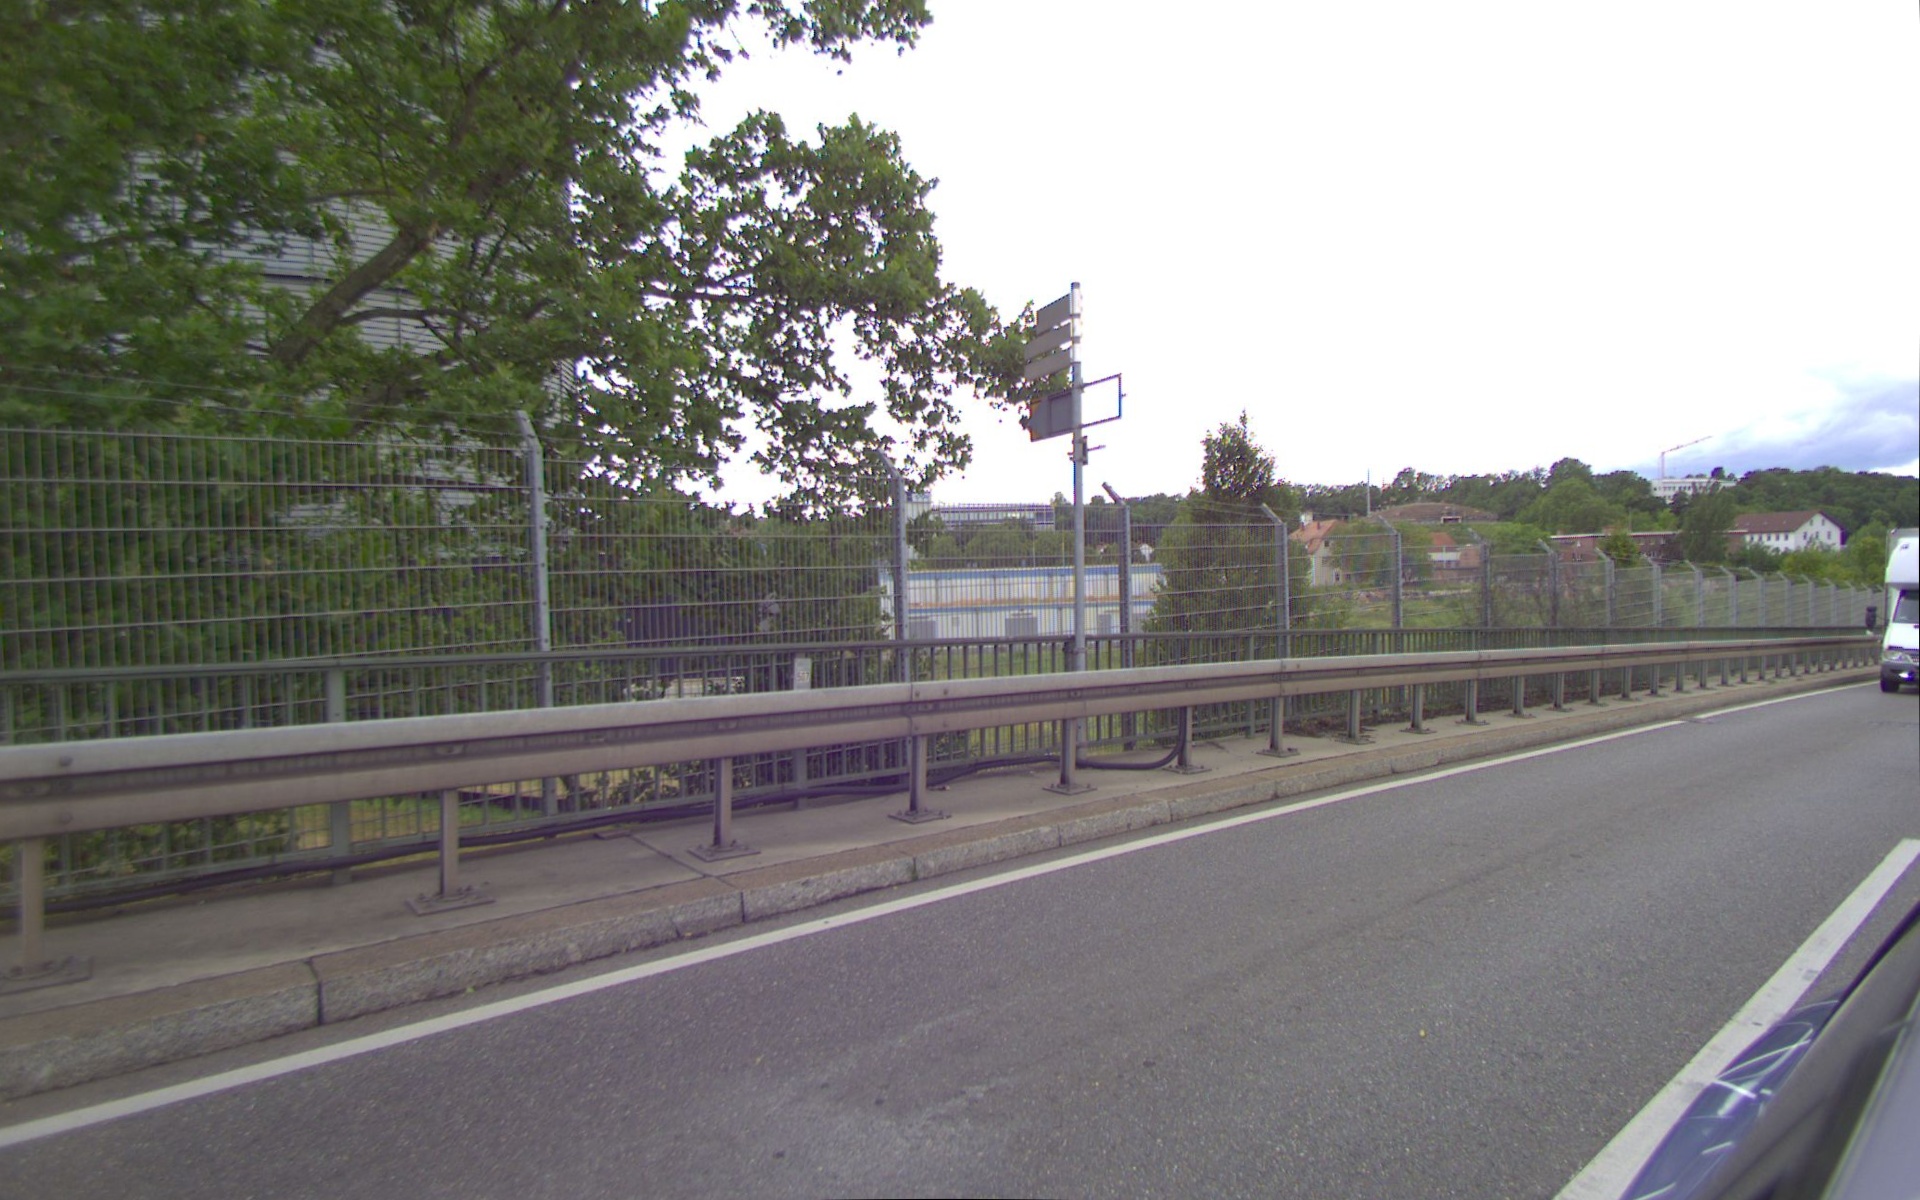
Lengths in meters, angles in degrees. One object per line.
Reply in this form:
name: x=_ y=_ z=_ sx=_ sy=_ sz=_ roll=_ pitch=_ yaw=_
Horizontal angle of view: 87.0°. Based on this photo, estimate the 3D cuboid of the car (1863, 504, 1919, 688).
car: x=20.512 y=-0.105 z=20.310 sx=6.966 sy=3.371 sz=2.664 roll=-1 pitch=1 yaw=-41
